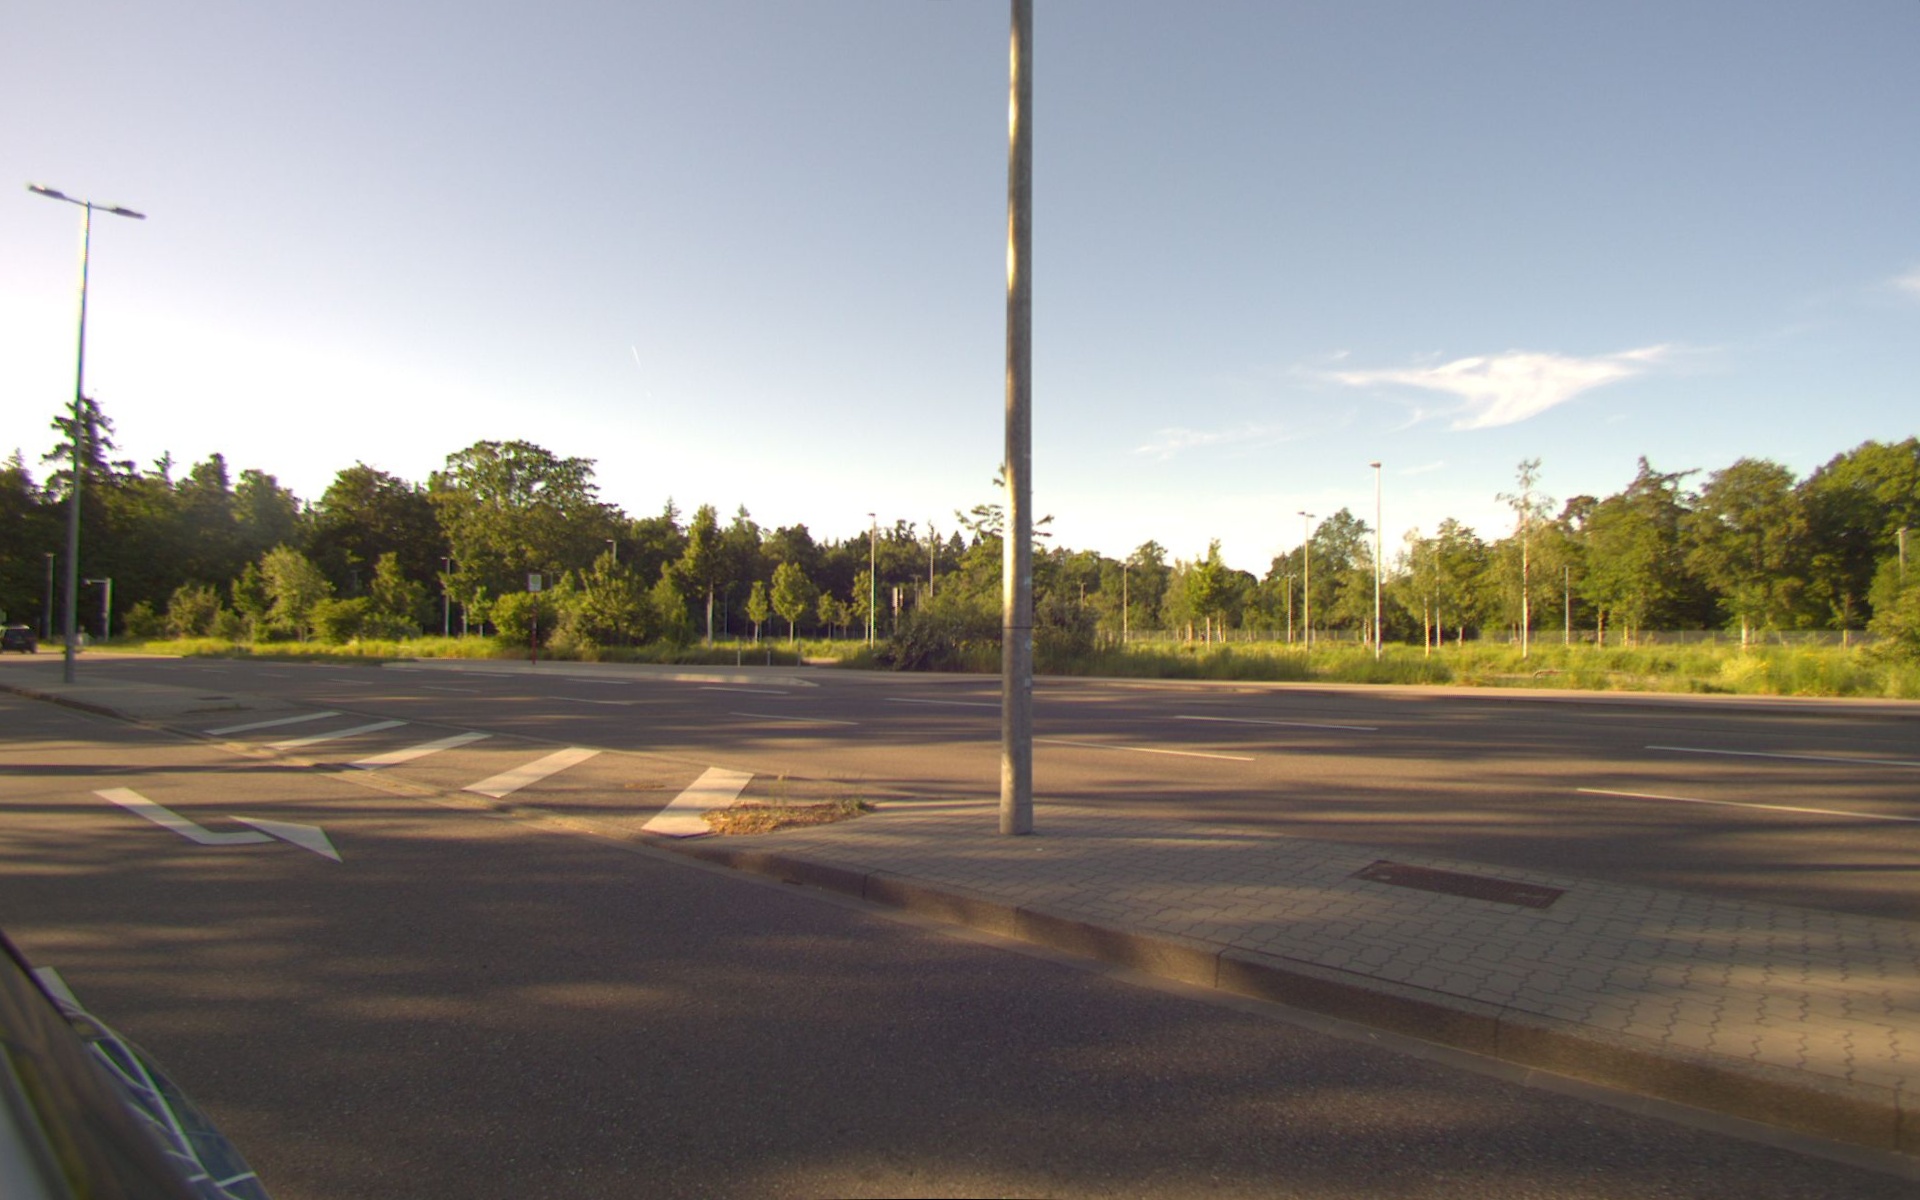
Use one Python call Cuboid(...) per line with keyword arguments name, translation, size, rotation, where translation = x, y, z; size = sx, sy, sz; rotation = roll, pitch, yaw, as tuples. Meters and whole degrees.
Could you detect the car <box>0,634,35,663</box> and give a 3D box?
Cuboid(name="car", translation=(-60.192, 3.072, 64.011), size=(4.696, 1.705, 1.766), rotation=(-2, -2, 39))
